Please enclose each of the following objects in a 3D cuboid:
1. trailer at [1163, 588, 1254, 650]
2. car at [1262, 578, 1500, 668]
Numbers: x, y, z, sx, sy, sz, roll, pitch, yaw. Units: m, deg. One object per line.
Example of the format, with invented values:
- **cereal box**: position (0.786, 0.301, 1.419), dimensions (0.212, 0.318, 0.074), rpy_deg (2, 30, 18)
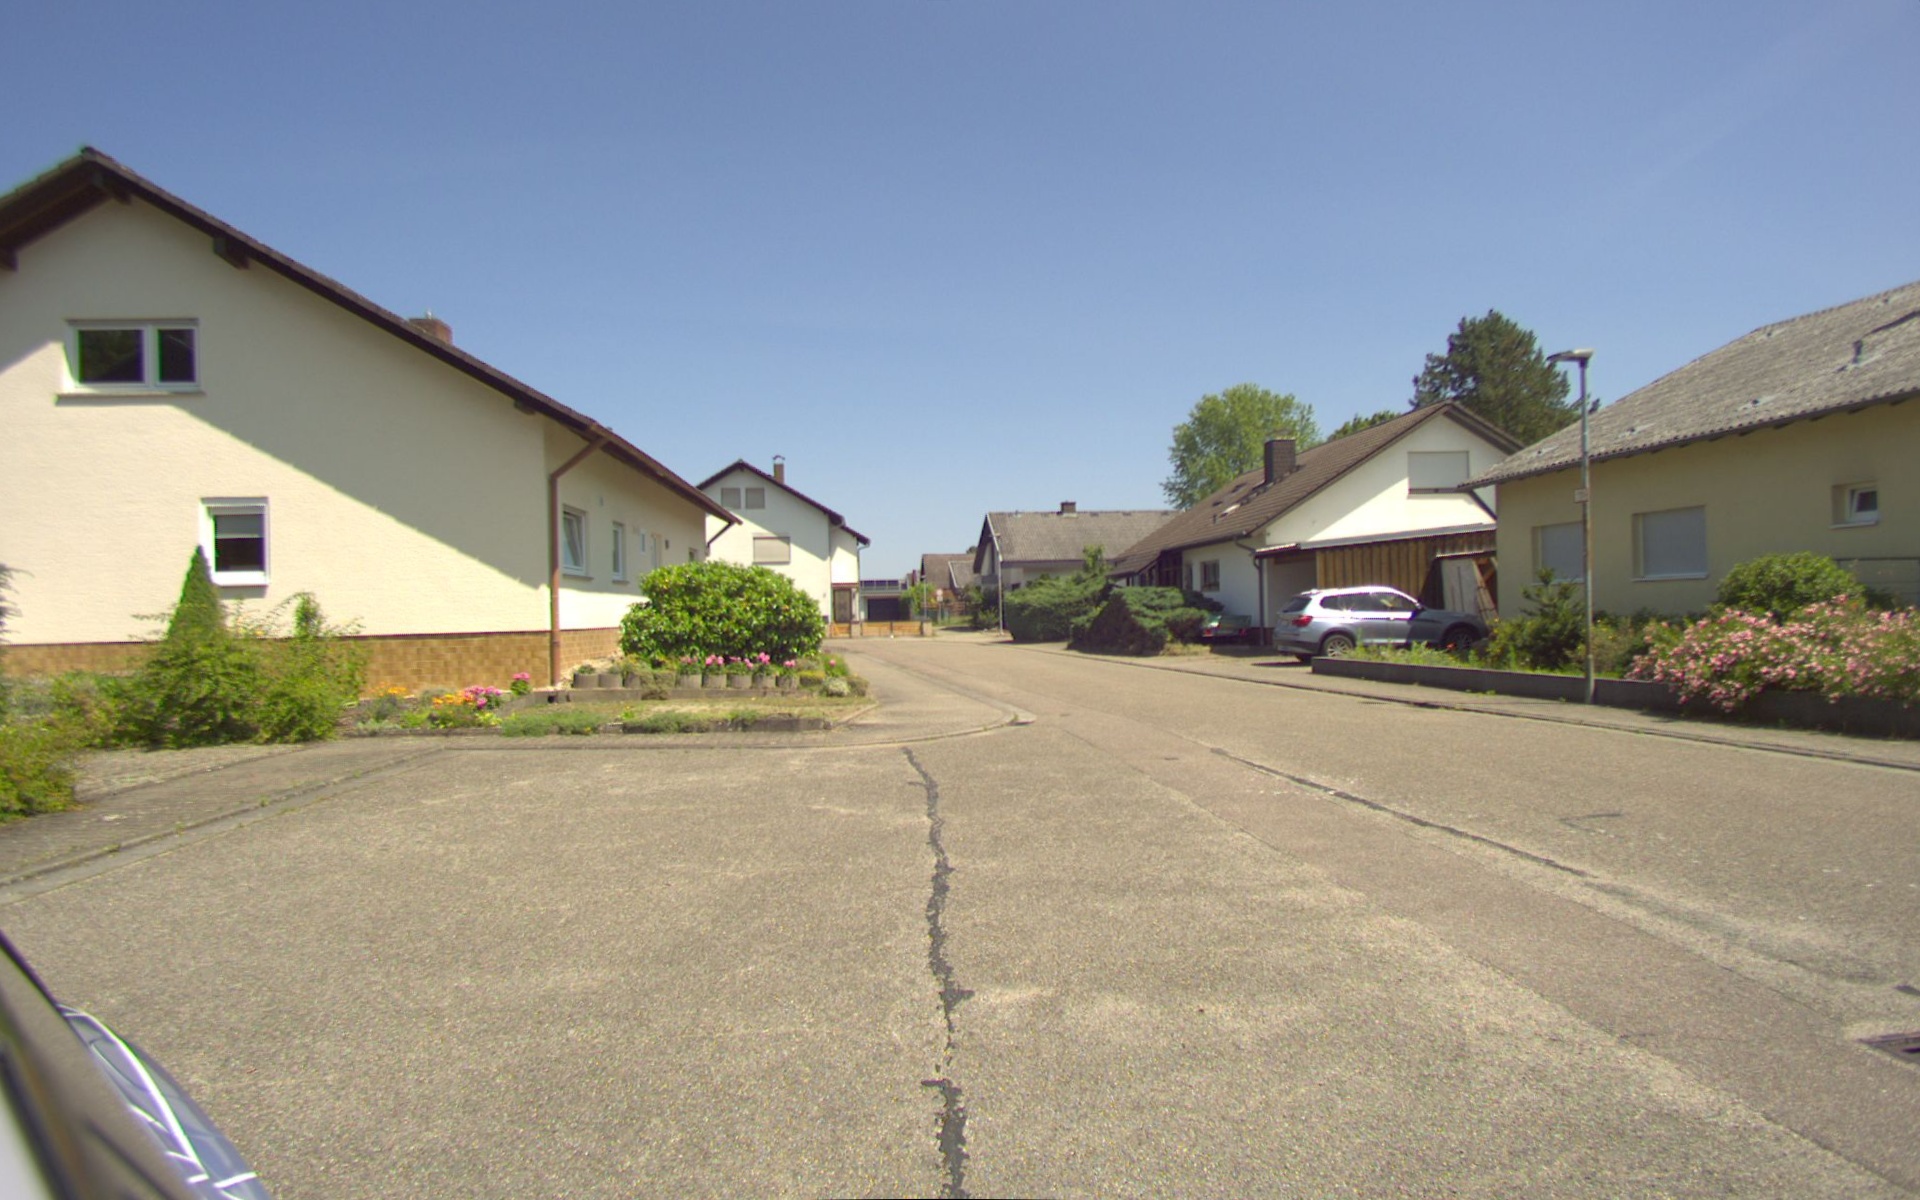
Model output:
- **trailer**: position (7.402, 0.545, 30.398), dimensions (1.568, 1.685, 3.300), rpy_deg (-3, 0, -5)
- **car**: position (9.455, 0.499, 22.928), dimensions (4.575, 1.715, 1.710), rpy_deg (-3, -1, -2)
